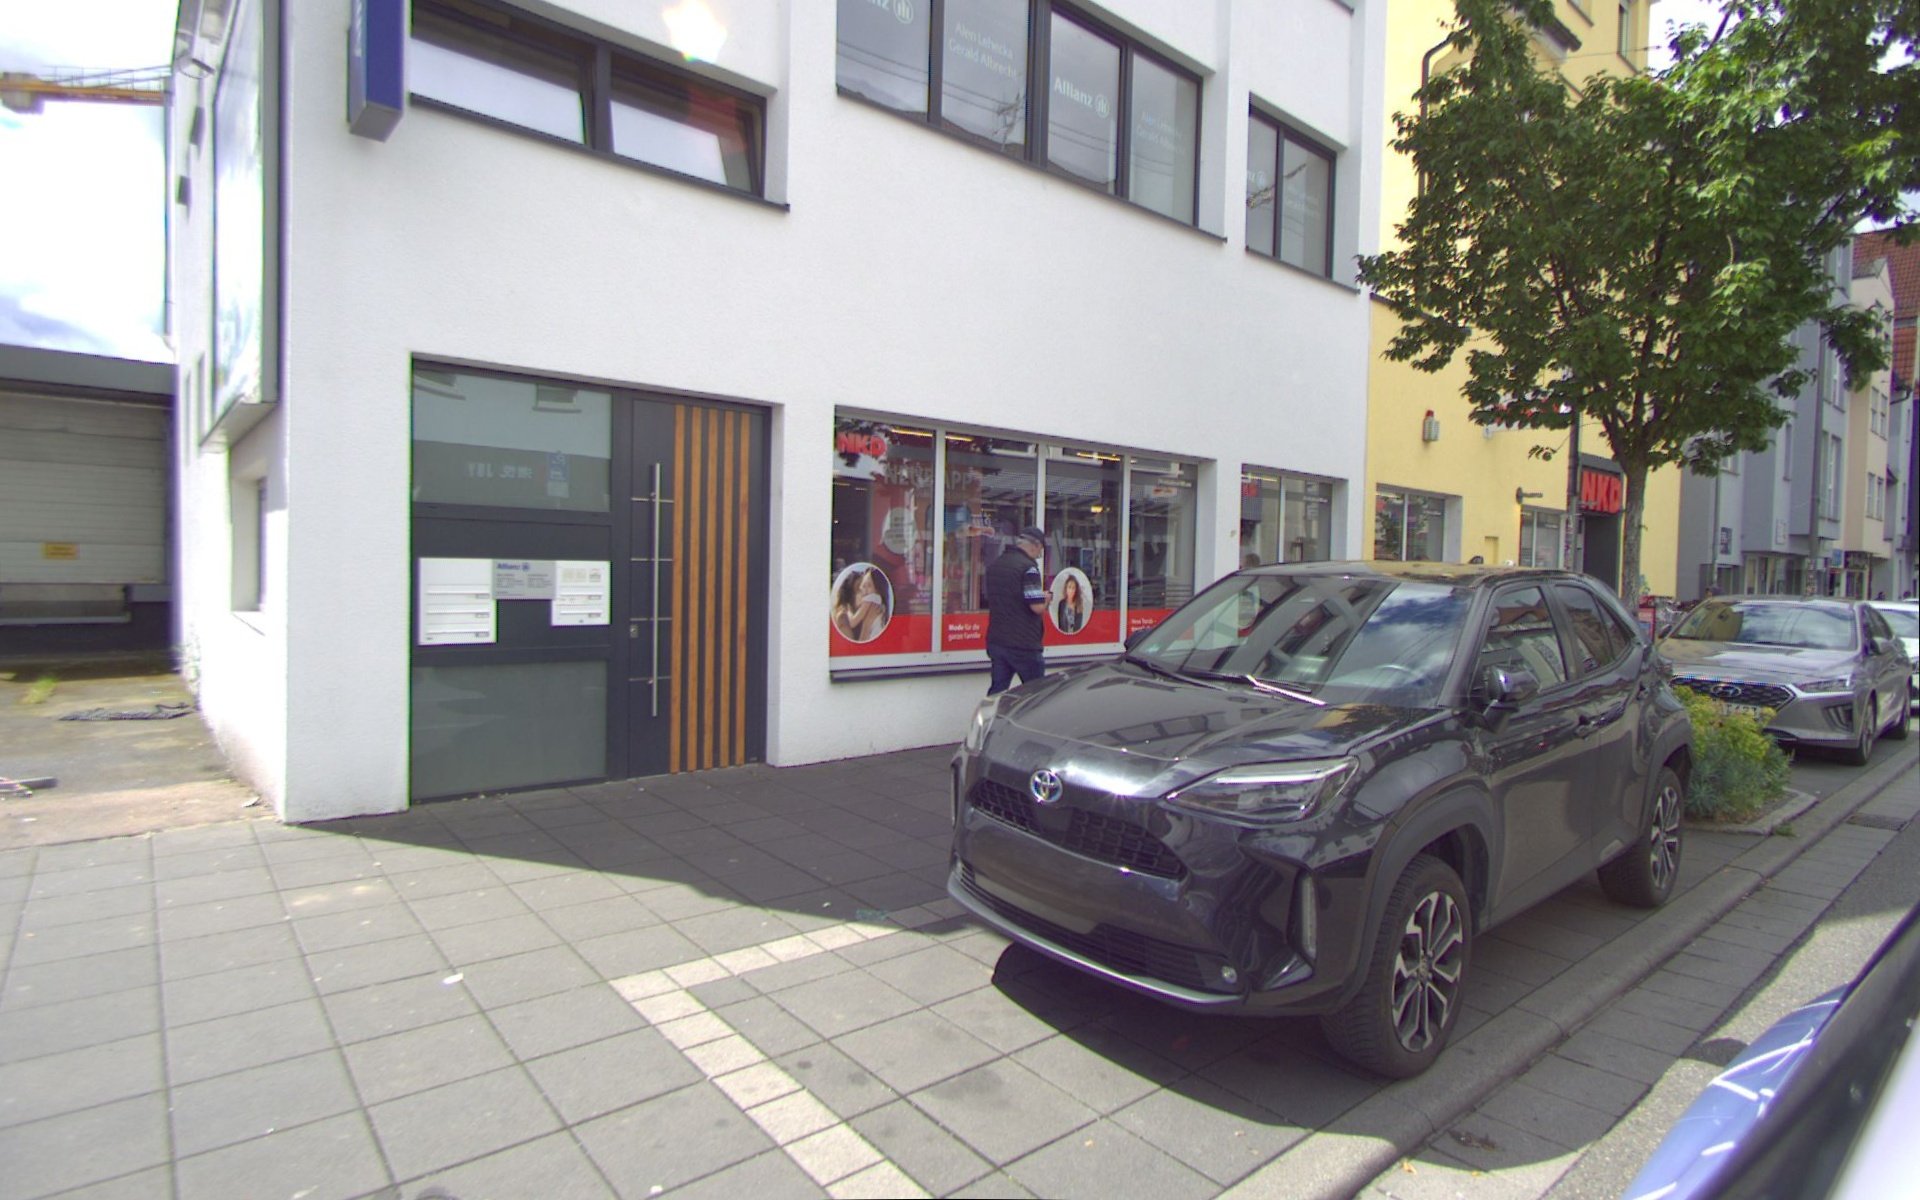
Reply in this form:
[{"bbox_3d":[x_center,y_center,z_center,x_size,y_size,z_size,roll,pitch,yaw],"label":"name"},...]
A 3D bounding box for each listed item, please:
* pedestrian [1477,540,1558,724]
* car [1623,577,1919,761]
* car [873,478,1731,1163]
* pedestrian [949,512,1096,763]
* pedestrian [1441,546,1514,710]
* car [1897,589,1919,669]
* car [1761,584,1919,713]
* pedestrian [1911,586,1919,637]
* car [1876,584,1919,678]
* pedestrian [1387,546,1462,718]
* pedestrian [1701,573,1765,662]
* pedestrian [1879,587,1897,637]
[{"bbox_3d":[5.859,0.317,10.641,0.566,1.863,0.589,-1,1,-39],"label":"pedestrian"},{"bbox_3d":[8.414,0.518,10.250,4.277,1.494,1.724,-1,1,-40],"label":"car"},{"bbox_3d":[1.759,0.476,4.349,4.038,1.596,1.724,-1,1,-41],"label":"car"},{"bbox_3d":[0.463,0.235,7.579,0.743,1.758,0.743,-1,4,-40],"label":"pedestrian"},{"bbox_3d":[6.071,0.309,11.879,0.566,1.863,0.589,-1,1,-39],"label":"pedestrian"},{"bbox_3d":[20.884,0.586,21.063,3.691,1.594,1.692,0,0,-41],"label":"car"},{"bbox_3d":[12.739,0.540,13.980,4.868,1.494,1.634,-1,1,-39],"label":"car"},{"bbox_3d":[33.049,0.375,34.746,0.596,1.739,0.536,-1,1,-42],"label":"pedestrian"},{"bbox_3d":[17.011,0.539,17.274,4.446,1.491,1.691,2,-1,-43],"label":"car"},{"bbox_3d":[5.221,0.340,11.380,0.566,1.863,0.589,-1,1,-39],"label":"pedestrian"},{"bbox_3d":[14.183,0.299,18.571,0.713,1.572,0.751,-1,2,-41],"label":"pedestrian"},{"bbox_3d":[32.454,0.416,35.386,0.528,1.739,0.436,-1,1,-43],"label":"pedestrian"}]
